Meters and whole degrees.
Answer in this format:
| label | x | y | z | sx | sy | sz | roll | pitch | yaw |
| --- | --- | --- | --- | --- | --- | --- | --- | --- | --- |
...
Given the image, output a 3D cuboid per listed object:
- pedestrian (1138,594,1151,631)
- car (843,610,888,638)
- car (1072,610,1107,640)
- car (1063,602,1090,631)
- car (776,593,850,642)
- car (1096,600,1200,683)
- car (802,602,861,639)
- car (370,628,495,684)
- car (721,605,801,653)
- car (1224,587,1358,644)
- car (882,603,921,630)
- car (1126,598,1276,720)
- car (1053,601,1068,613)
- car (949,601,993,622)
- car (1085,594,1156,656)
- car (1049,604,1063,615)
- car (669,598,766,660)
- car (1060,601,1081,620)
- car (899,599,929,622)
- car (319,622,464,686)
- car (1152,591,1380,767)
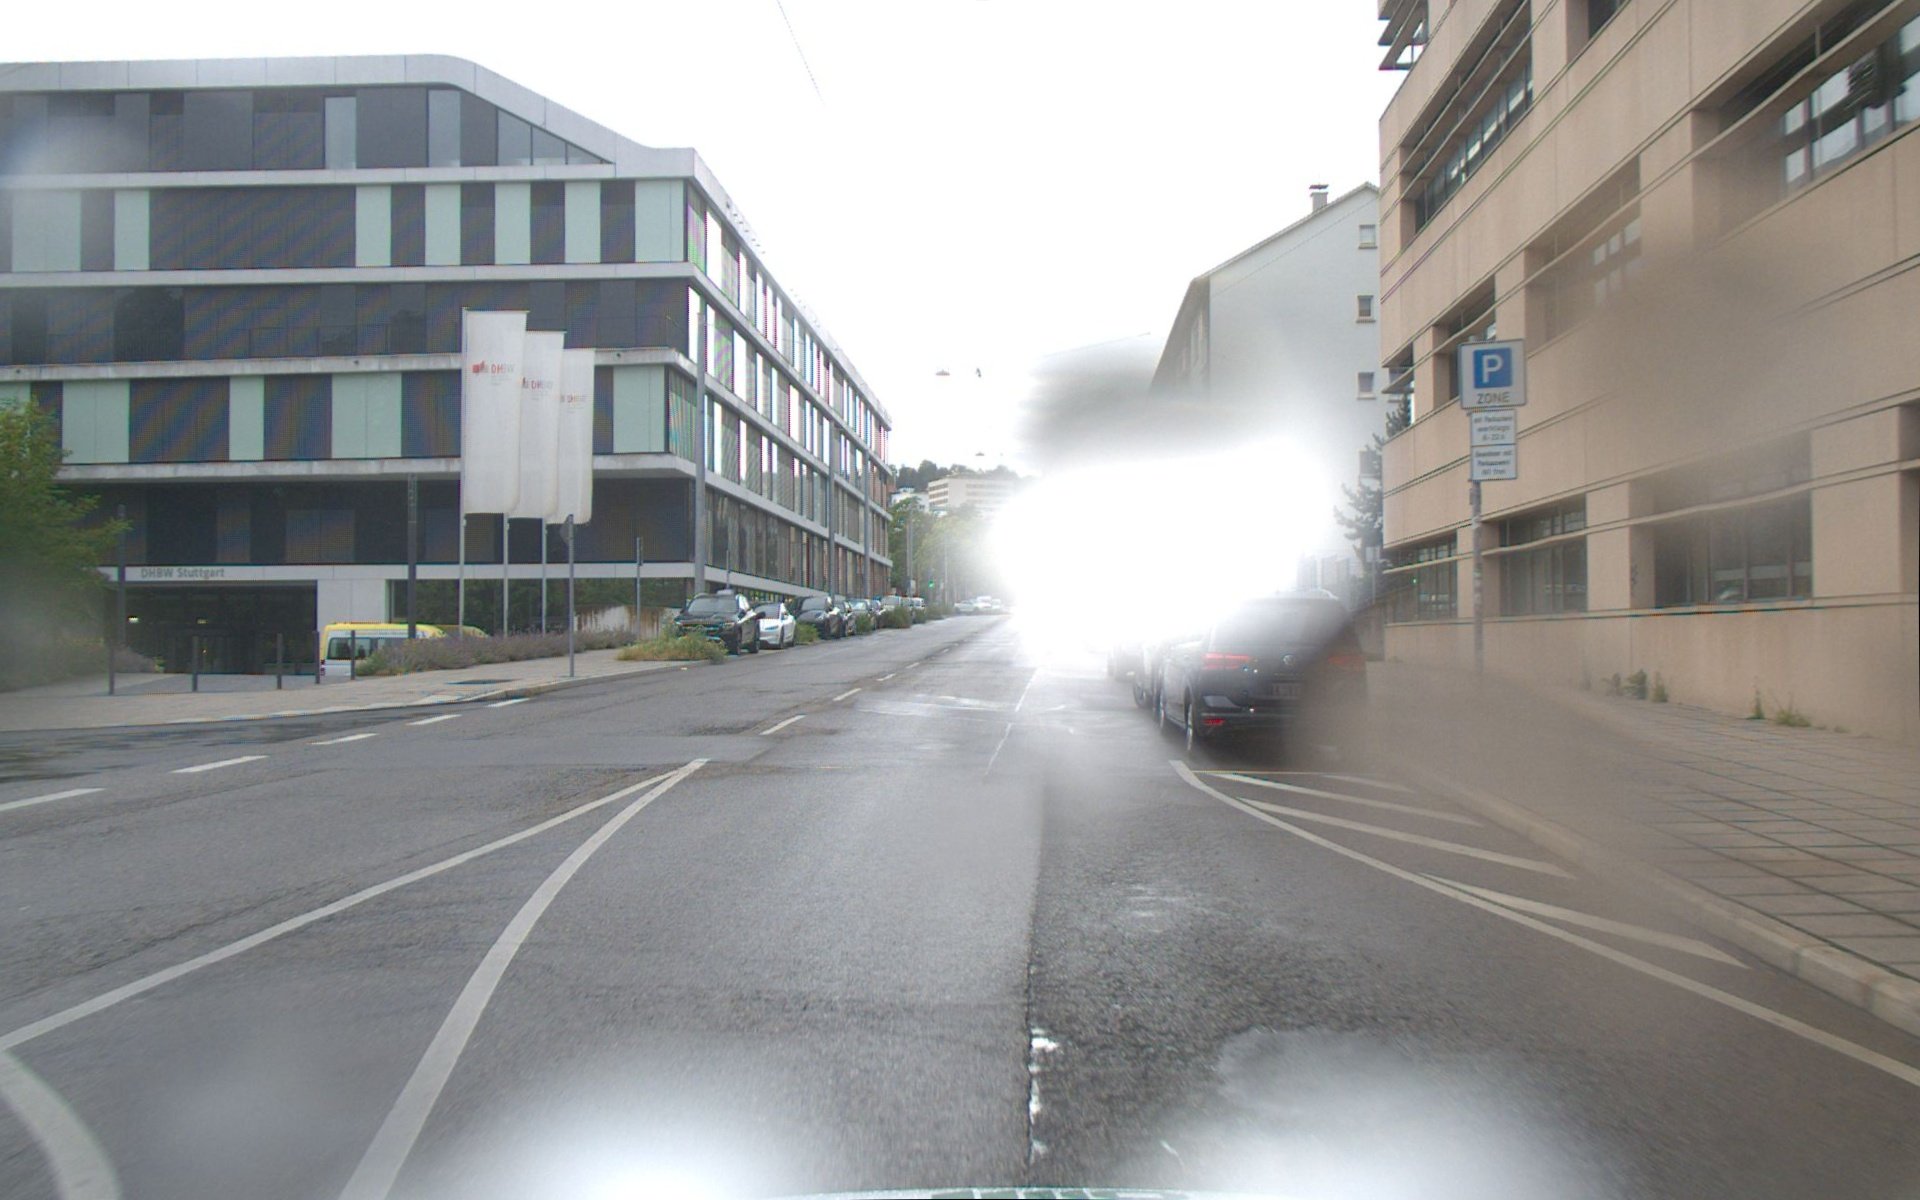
| label | x | y | z | sx | sy | sz | roll | pitch | yaw |
| --- | --- | --- | --- | --- | --- | --- | --- | --- | --- |
| pedestrian | 9.655 | 0.658 | 86.567 | 0.625 | 1.903 | 0.539 | 0 | -1 | 5 |
| car | -4.812 | 1.212 | 84.589 | 1.799 | 1.421 | 4.394 | 0 | 0 | 3 |
| car | 6.588 | 1.255 | 84.665 | 1.670 | 1.480 | 3.986 | 0 | 0 | 3 |
| car | 7.392 | 1.042 | 105.214 | 1.620 | 1.768 | 4.181 | 0 | 0 | 3 |
| car | -5.534 | 0.654 | 62.952 | 1.921 | 1.781 | 4.944 | 0 | 0 | 5 |
| car | 3.724 | 0.801 | 33.406 | 1.707 | 1.560 | 4.320 | 1 | -1 | 2 |
| car | -5.305 | 0.849 | 68.900 | 1.832 | 1.498 | 4.742 | 0 | 0 | 3 |
| car | -20.137 | 2.115 | 63.237 | 4.251 | 2.068 | 1.599 | 0 | -1 | 3 |
| car | -6.313 | 0.901 | 52.827 | 1.783 | 1.443 | 4.404 | 0 | 0 | 3 |
| car | 11.687 | 0.559 | 58.602 | 4.346 | 1.742 | 1.905 | -3 | -1 | 2 |
| car | -3.538 | 1.015 | 100.239 | 1.763 | 1.632 | 4.236 | 0 | -1 | 6 |
| car | 3.357 | 0.800 | 23.673 | 1.689 | 1.539 | 4.059 | 2 | -1 | 2 |
| car | 13.794 | 0.986 | 226.810 | 1.827 | 1.632 | 4.192 | 0 | -1 | 6 |
| car | 1.029 | 1.095 | 154.473 | 4.131 | 1.698 | 1.630 | -4 | -6 | 43 |
| car | 4.826 | 0.740 | 50.209 | 1.895 | 1.781 | 4.798 | 0 | 0 | 3 |
| car | 13.658 | 1.349 | 234.994 | 1.827 | 1.632 | 4.192 | 0 | -1 | 6 |
| car | -6.695 | 0.790 | 46.133 | 1.810 | 1.646 | 4.492 | 0 | 0 | 3 |
| car | 10.489 | 1.017 | 156.795 | 1.827 | 1.801 | 4.192 | 0 | -1 | 6 |
| car | -3.077 | 0.702 | 111.157 | 1.561 | 1.485 | 3.721 | 0 | 0 | 5 |
| car | -20.315 | 1.902 | 59.209 | 4.498 | 2.212 | 1.930 | 1 | -1 | -3 |
| car | 3.110 | 0.754 | 17.628 | 1.734 | 1.632 | 4.395 | 0 | 0 | 2 |
